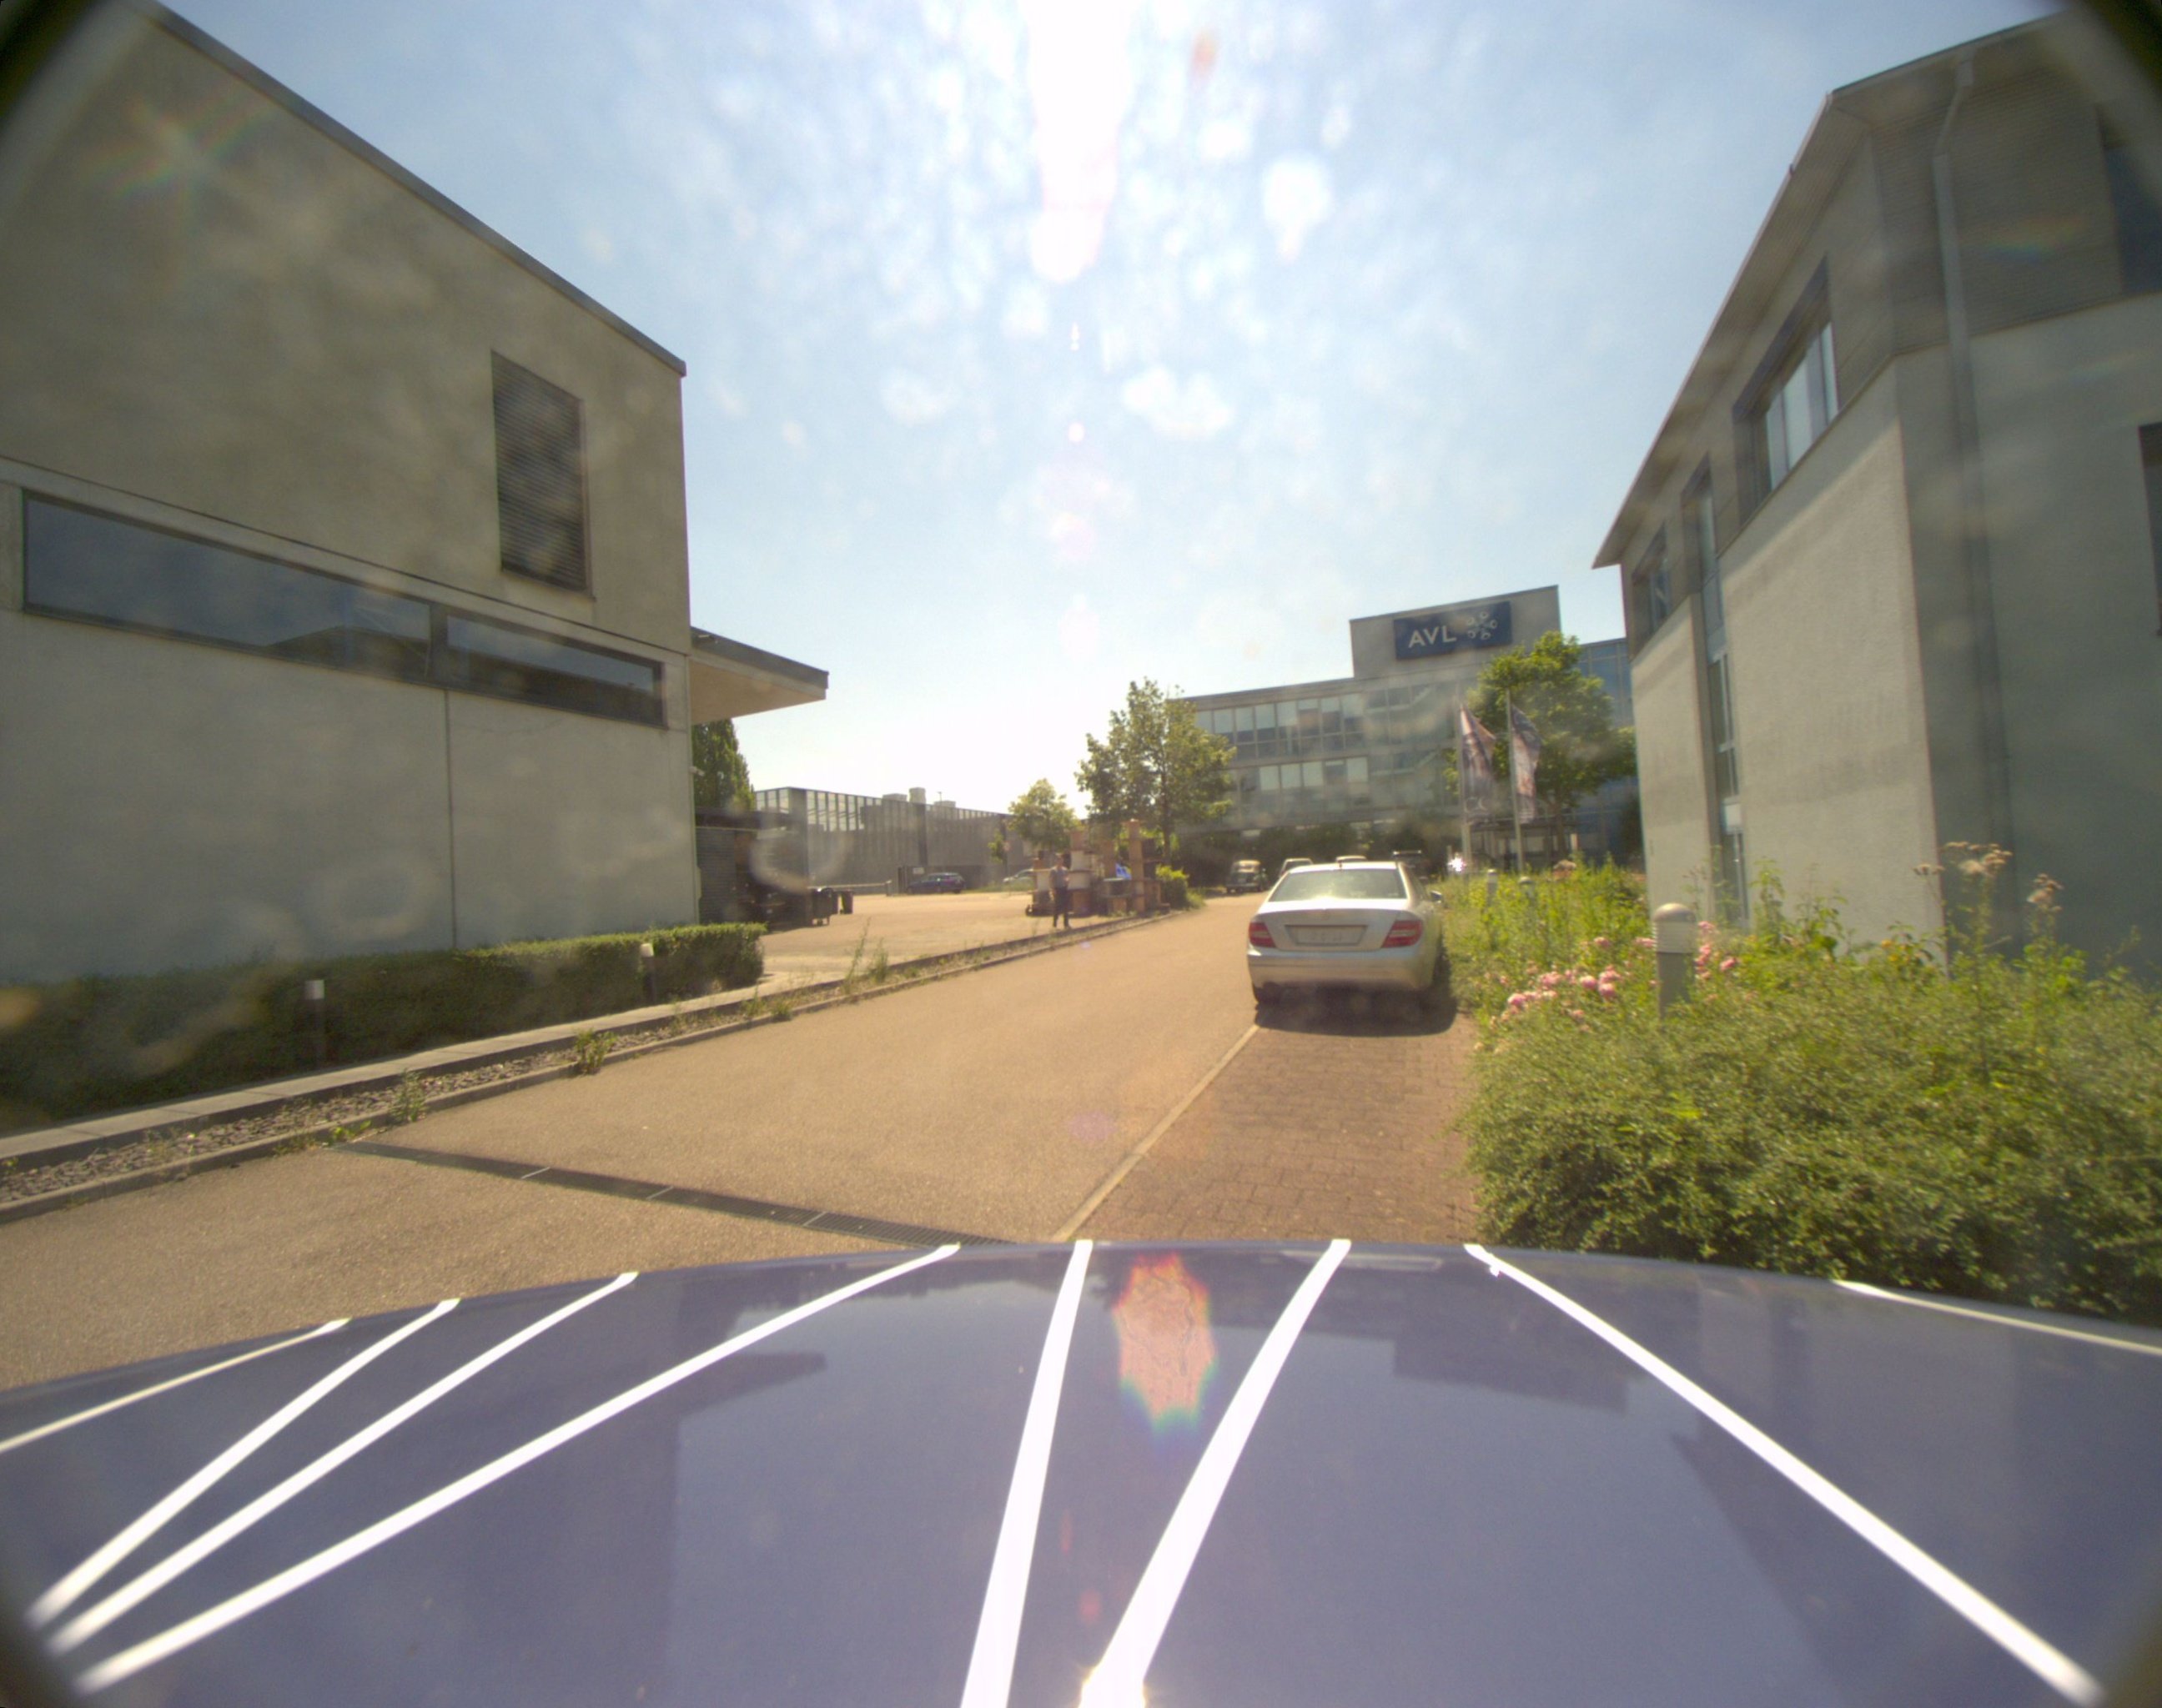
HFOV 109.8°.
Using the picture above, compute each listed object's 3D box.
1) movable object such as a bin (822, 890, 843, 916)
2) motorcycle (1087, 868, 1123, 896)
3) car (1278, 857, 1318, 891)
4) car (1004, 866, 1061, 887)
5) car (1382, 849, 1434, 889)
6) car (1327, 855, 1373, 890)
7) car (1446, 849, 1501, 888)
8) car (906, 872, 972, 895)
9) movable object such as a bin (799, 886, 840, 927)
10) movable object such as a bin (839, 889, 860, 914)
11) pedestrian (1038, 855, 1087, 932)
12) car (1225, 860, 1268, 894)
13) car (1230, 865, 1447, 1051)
[{"bbox_3d":[-9.532,1.874,29.177,0.585,0.912,0.547,-3,0,-2],"label":"movable object such as a bin"},{"bbox_3d":[1.239,1.391,37.889,0.872,1.252,2.840,-2,0,21],"label":"motorcycle"},{"bbox_3d":[10.003,0.888,35.025,1.640,1.443,3.605,-2,0,16],"label":"car"},{"bbox_3d":[-3.843,1.814,59.957,4.403,1.467,1.784,-3,-1,39],"label":"car"},{"bbox_3d":[14.371,0.622,33.549,1.935,1.593,3.865,-2,0,21],"label":"car"},{"bbox_3d":[12.258,0.832,34.774,1.729,1.443,3.605,-2,0,16],"label":"car"},{"bbox_3d":[16.734,0.590,32.566,1.727,1.475,4.404,-3,-1,23],"label":"car"},{"bbox_3d":[-9.787,2.022,52.164,4.435,1.401,1.863,-3,-1,36],"label":"car"},{"bbox_3d":[-8.436,1.692,24.524,0.874,1.242,0.803,-2,0,31],"label":"movable object such as a bin"},{"bbox_3d":[-8.896,1.834,29.217,0.585,0.912,0.547,-3,0,-2],"label":"movable object such as a bin"},{"bbox_3d":[-0.452,0.939,18.379,0.810,1.758,0.767,-4,1,-37],"label":"pedestrian"},{"bbox_3d":[7.825,1.059,35.727,1.519,1.437,3.424,-2,0,19],"label":"car"},{"bbox_3d":[3.088,0.920,8.483,1.730,1.448,4.155,-2,-1,26],"label":"car"}]
